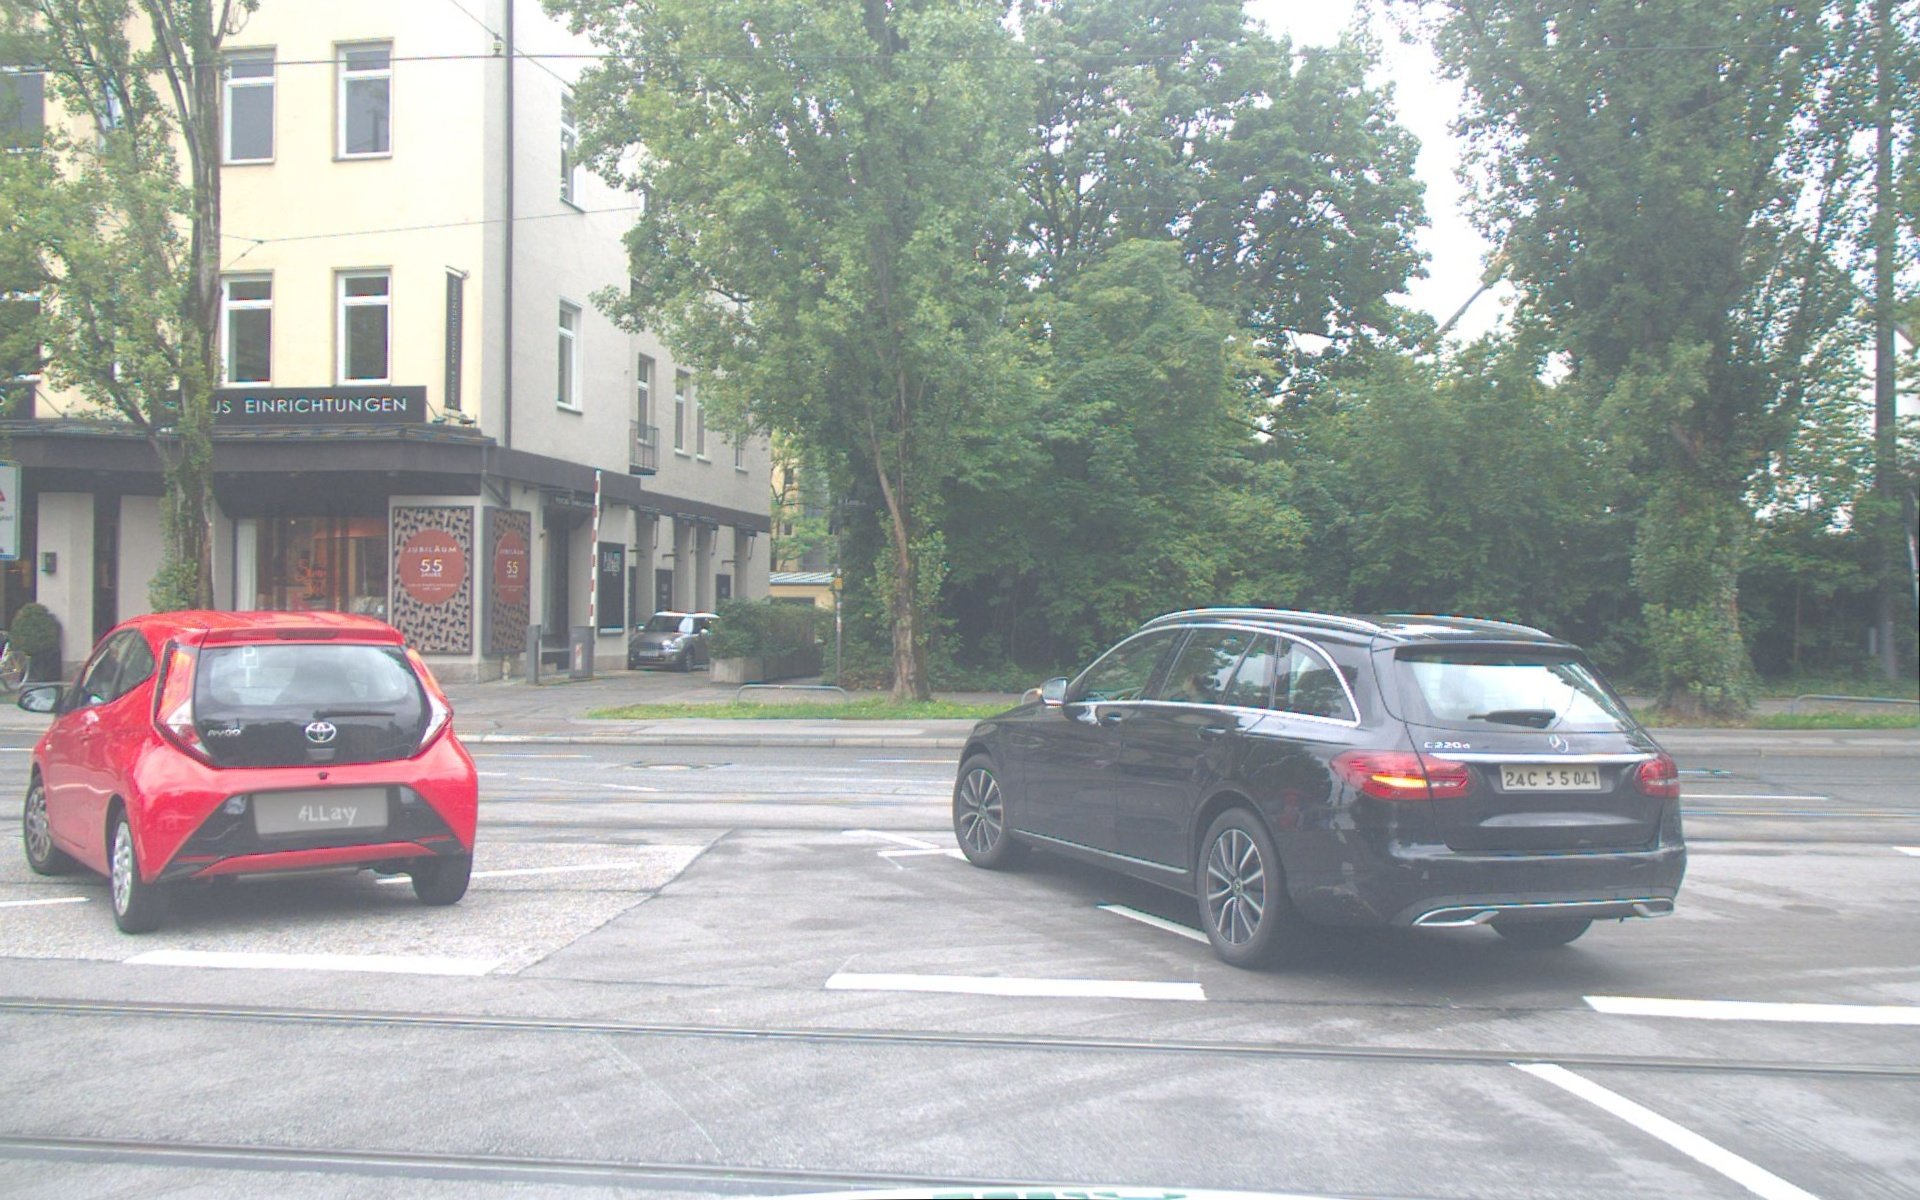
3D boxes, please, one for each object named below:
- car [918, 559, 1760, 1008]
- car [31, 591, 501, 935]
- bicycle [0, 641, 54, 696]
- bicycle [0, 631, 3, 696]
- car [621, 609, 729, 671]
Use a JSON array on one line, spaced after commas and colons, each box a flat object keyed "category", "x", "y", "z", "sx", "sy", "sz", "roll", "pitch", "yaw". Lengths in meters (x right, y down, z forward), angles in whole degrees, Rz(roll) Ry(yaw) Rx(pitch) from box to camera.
[{"category": "car", "x": 1.450, "y": 0.640, "z": 8.340, "sx": 1.837, "sy": 1.576, "sz": 4.673, "roll": 1, "pitch": 0, "yaw": -21}, {"category": "car", "x": -3.853, "y": 0.744, "z": 8.894, "sx": 1.616, "sy": 1.465, "sz": 3.333, "roll": 2, "pitch": -2, "yaw": -36}, {"category": "bicycle", "x": -16.326, "y": 1.174, "z": 28.653, "sx": 0.379, "sy": 0.899, "sz": 1.372, "roll": 0, "pitch": 0, "yaw": 6}, {"category": "bicycle", "x": -16.453, "y": 1.062, "z": 26.922, "sx": 0.484, "sy": 1.101, "sz": 1.890, "roll": 0, "pitch": 0, "yaw": 6}, {"category": "car", "x": -7.075, "y": 0.965, "z": 41.433, "sx": 1.689, "sy": 1.467, "sz": 4.002, "roll": 0, "pitch": 0, "yaw": 5}]
